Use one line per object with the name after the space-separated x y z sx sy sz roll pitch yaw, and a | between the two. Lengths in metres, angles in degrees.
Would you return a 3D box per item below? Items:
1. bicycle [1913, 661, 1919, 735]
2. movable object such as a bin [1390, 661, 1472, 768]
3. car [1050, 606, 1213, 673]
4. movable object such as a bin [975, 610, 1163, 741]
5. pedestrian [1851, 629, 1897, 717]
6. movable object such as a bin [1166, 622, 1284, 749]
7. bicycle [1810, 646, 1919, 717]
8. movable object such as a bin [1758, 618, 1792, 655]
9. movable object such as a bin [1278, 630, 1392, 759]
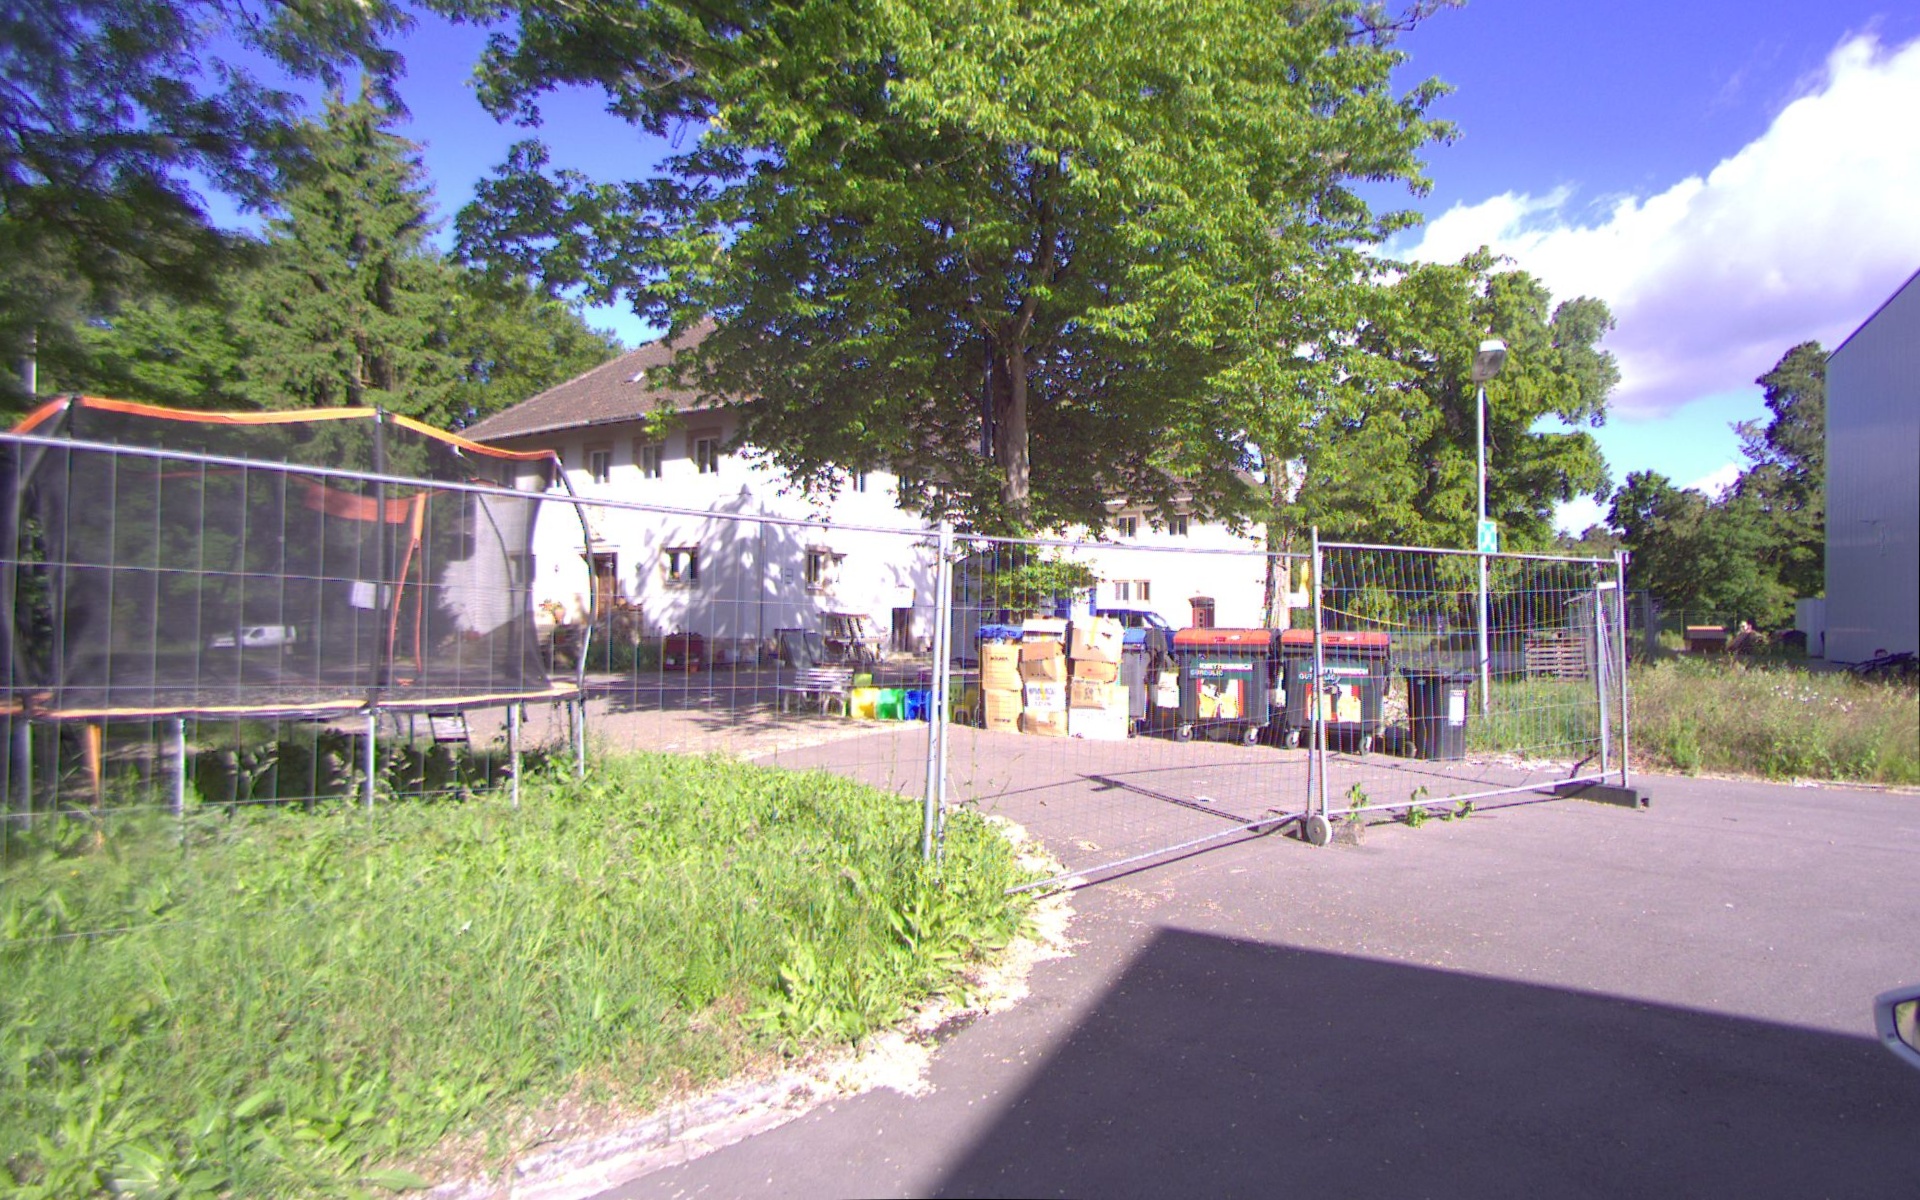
15.353 1.480 14.764 1.860 1.109 0.525 0 -2 30 | bicycle
5.367 1.271 11.429 0.726 1.112 0.817 0 -1 34 | movable object such as a bin
5.323 1.188 31.296 4.637 1.927 1.998 0 -1 27 | car
1.475 0.957 13.545 2.252 1.612 1.174 0 -1 25 | movable object such as a bin
18.584 1.465 20.428 0.627 1.751 0.509 1 -1 -26 | pedestrian
3.371 1.044 12.749 1.316 1.504 0.806 0 -1 24 | movable object such as a bin
18.316 1.584 19.542 2.595 1.283 1.137 0 -1 35 | bicycle
45.747 2.029 56.409 1.399 2.040 1.122 0 -1 35 | movable object such as a bin
4.520 1.098 12.101 1.225 1.463 0.702 0 -1 25 | movable object such as a bin
